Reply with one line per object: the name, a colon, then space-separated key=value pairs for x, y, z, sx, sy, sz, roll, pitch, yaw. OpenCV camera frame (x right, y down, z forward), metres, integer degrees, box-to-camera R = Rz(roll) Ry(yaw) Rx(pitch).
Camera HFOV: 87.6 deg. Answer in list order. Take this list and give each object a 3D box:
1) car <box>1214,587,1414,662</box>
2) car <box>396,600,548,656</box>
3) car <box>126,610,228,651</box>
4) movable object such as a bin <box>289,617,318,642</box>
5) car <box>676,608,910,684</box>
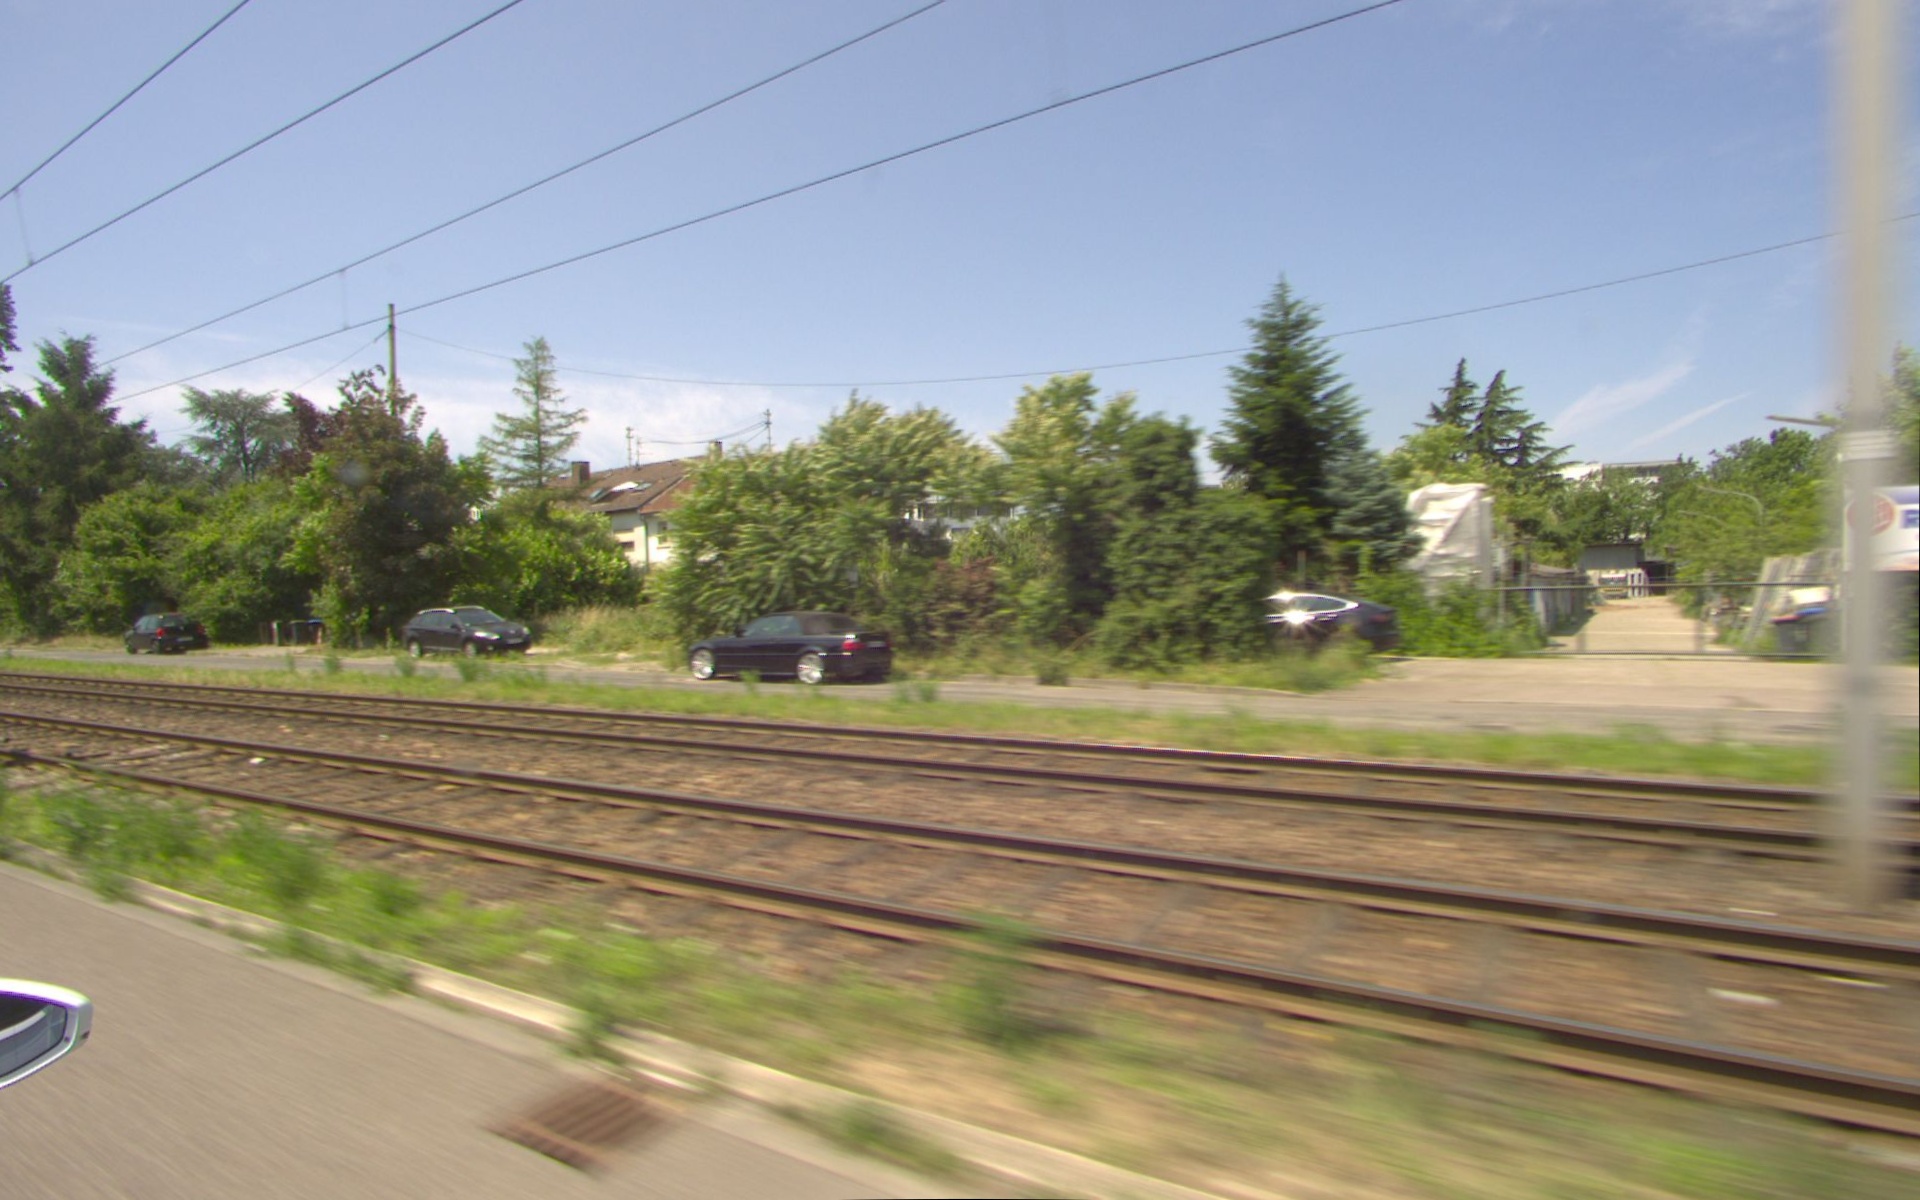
car: x=7.338 y=0.491 z=20.808 sx=3.684 sy=1.438 sz=1.718 roll=-1 pitch=0 yaw=30
car: x=-14.664 y=0.819 z=30.061 sx=4.489 sy=1.581 sz=1.932 roll=-1 pitch=0 yaw=30
car: x=-30.027 y=1.148 z=38.395 sx=3.944 sy=1.490 sz=1.910 roll=-1 pitch=0 yaw=33
movable object such as a bin: x=-24.815 y=1.112 z=37.869 sx=0.612 sy=0.949 sz=0.722 roll=0 pitch=0 yaw=33
car: x=-3.358 y=0.861 z=19.923 sx=4.448 sy=1.348 sz=1.858 roll=-1 pitch=0 yaw=30
